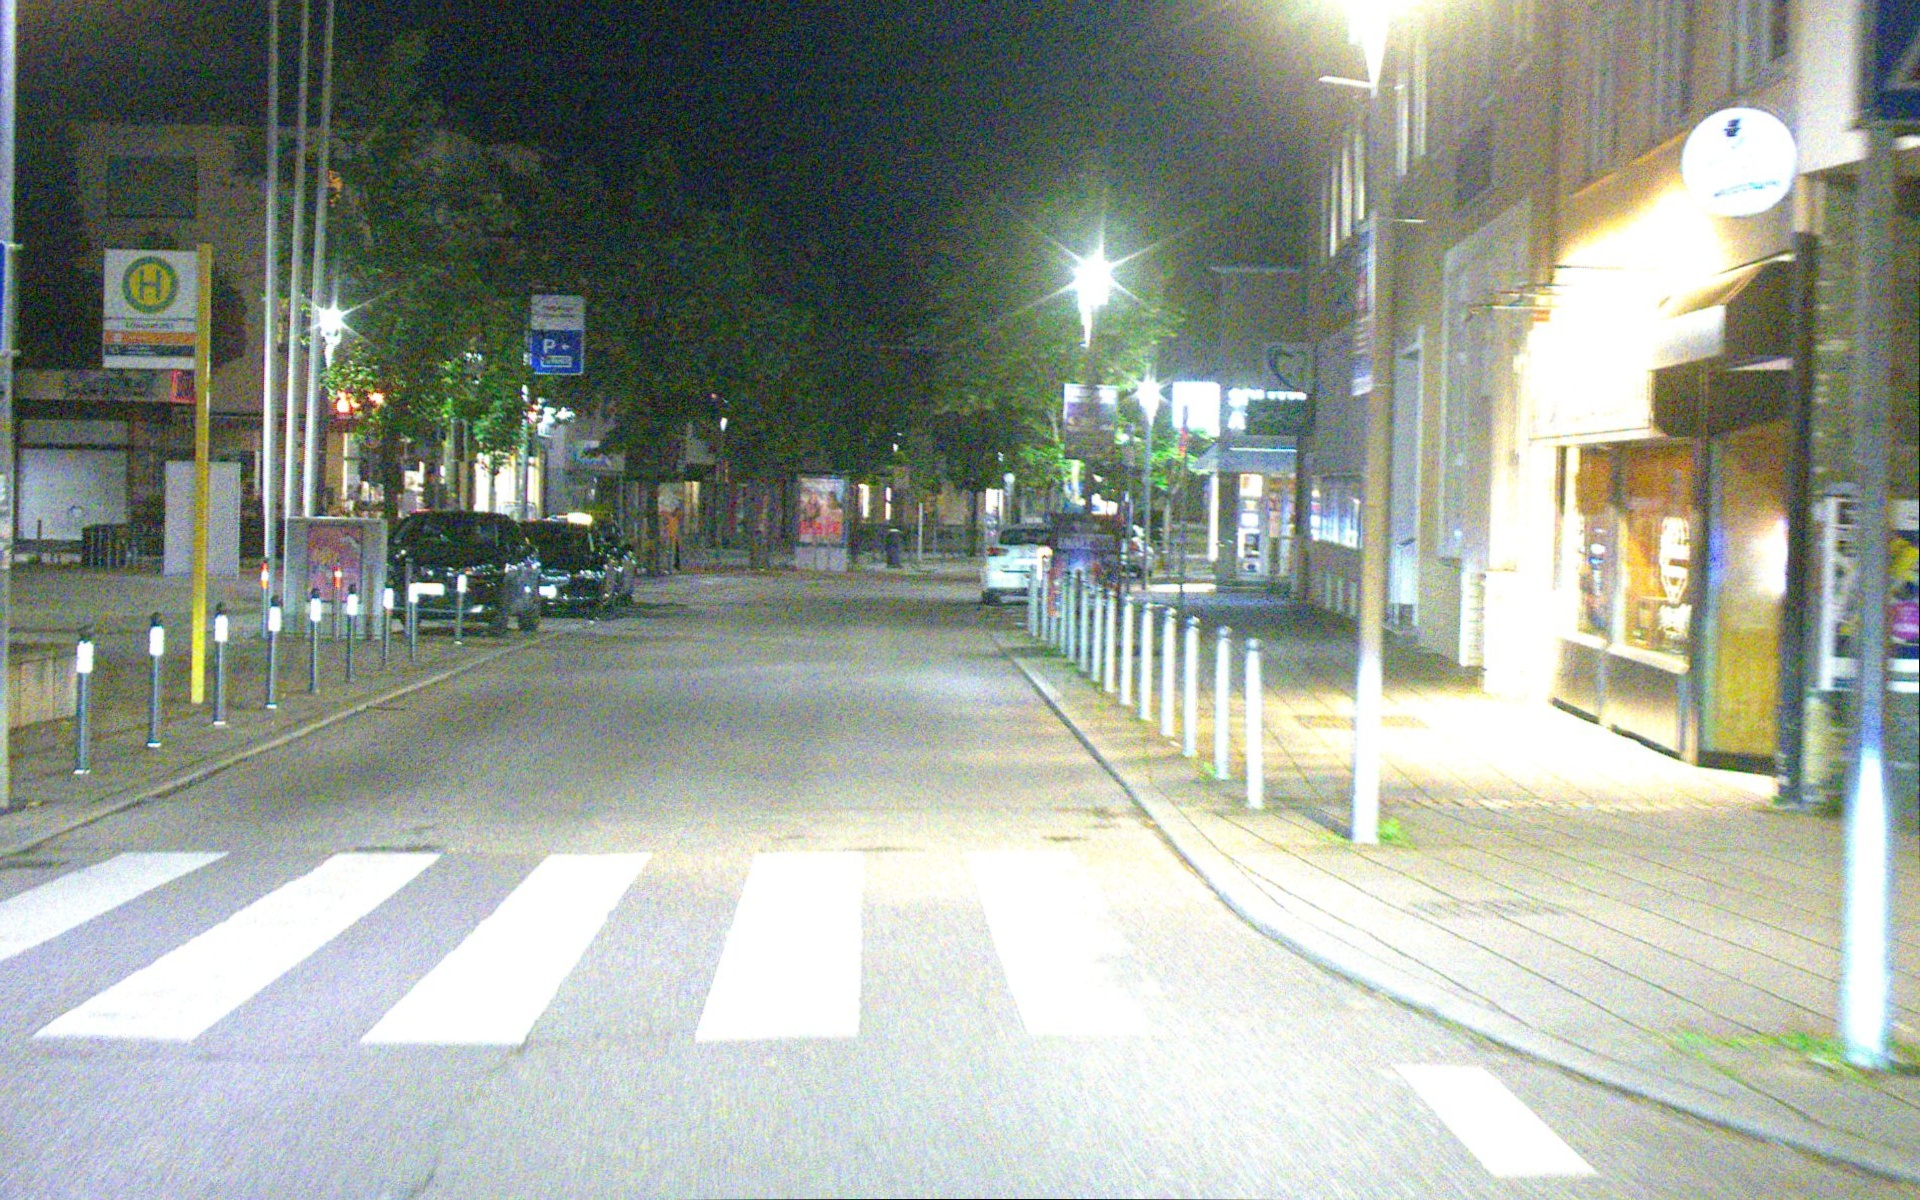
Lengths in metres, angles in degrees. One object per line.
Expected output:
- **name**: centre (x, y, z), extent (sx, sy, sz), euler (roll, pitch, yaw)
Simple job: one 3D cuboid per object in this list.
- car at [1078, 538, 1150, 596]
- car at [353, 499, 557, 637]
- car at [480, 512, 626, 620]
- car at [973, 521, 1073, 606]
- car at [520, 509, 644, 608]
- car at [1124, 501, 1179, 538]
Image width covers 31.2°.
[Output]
- **car**: centre (4.173, -0.909, 92.471), extent (1.734, 1.436, 4.496), euler (1, 2, 5)
- **car**: centre (-6.276, -0.428, 43.178), extent (1.771, 1.568, 4.483), euler (2, 1, 1)
- **car**: centre (-6.315, -0.573, 53.787), extent (1.905, 1.536, 4.783), euler (2, 2, -3)
- **car**: centre (1.192, -0.673, 63.120), extent (1.742, 1.482, 4.636), euler (1, 1, 2)
- **car**: centre (-6.588, -0.767, 60.316), extent (1.758, 1.631, 4.816), euler (1, 2, -1)
- **car**: centre (9.509, -4.003, 170.075), extent (2.019, 1.685, 5.001), euler (3, 2, 11)
